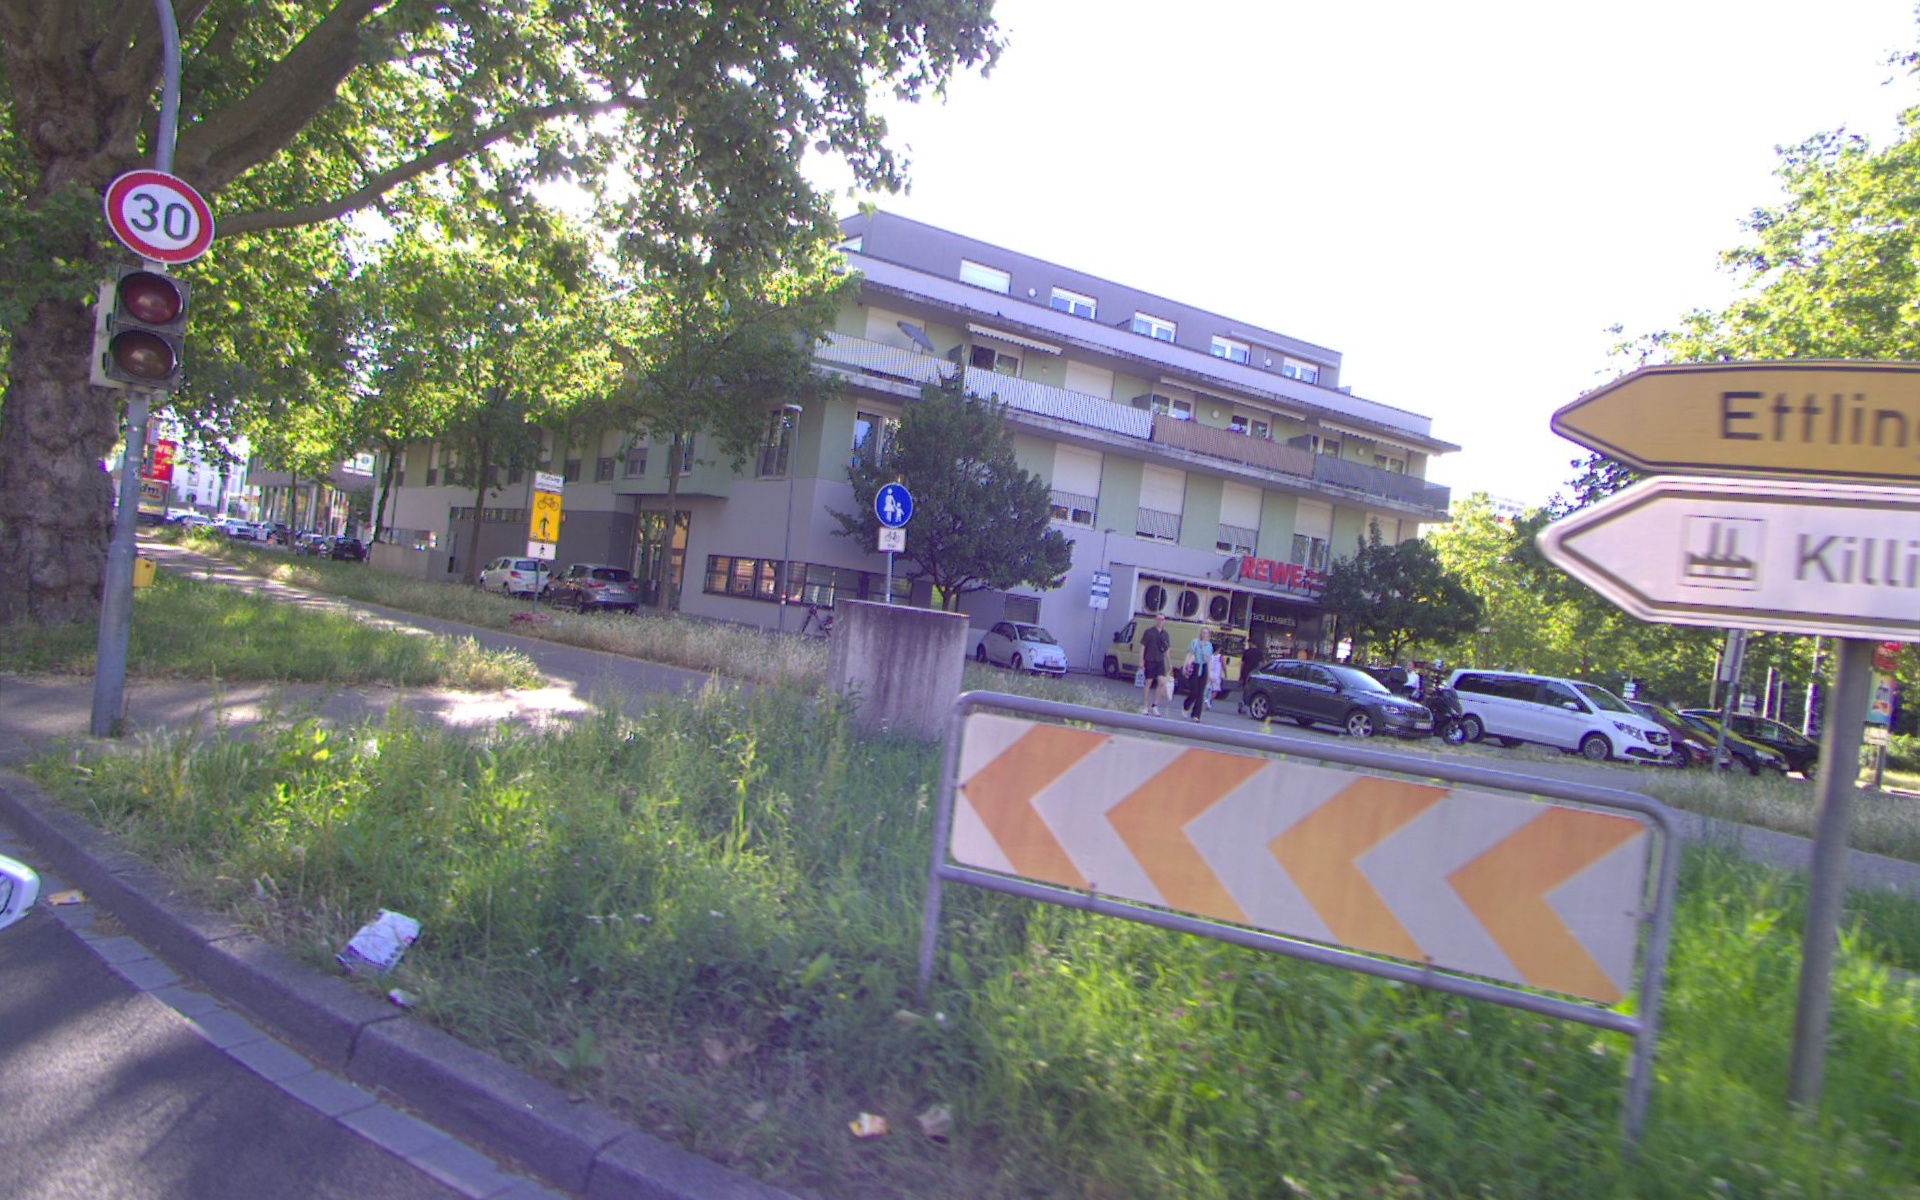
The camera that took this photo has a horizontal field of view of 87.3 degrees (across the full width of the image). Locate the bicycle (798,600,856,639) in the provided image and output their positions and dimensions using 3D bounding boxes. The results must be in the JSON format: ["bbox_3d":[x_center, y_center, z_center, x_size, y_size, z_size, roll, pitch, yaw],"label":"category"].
[{"bbox_3d":[-4.255,0.625,32.199,1.659,1.030,0.585,7,0,-25],"label":"bicycle"}]

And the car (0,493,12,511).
[{"bbox_3d":[-121.213,-12.475,126.883,3.947,2.036,1.991,5,-3,43],"label":"car"}]

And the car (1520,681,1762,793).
[{"bbox_3d":[17.324,3.444,25.886,1.978,1.798,4.599,8,2,-27],"label":"car"}]

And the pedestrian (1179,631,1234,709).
[{"bbox_3d":[5.939,1.683,24.211,0.933,1.719,0.882,7,0,28],"label":"pedestrian"}]

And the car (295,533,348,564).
[{"bbox_3d":[-39.730,-3.200,62.577,4.071,1.486,1.855,6,-1,45],"label":"car"}]

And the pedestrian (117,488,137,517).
[{"bbox_3d":[-53.800,-6.293,64.954,0.653,1.784,0.767,7,2,35],"label":"pedestrian"}]

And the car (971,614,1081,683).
[{"bbox_3d":[1.959,1.434,30.739,1.656,1.473,3.531,8,2,-27],"label":"car"}]

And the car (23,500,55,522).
[{"bbox_3d":[-74.669,-7.211,81.562,1.803,1.558,4.528,4,1,-43],"label":"car"}]

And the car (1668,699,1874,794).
[{"bbox_3d":[24.721,4.395,30.770,4.569,1.798,1.991,11,3,43],"label":"car"}]

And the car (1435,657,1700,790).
[{"bbox_3d":[14.571,2.899,24.528,1.978,2.123,5.014,8,2,-27],"label":"car"}]

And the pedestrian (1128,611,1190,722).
[{"bbox_3d":[3.730,1.238,18.939,0.768,1.956,0.838,7,0,-1],"label":"pedestrian"}]

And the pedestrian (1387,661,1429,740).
[{"bbox_3d":[10.627,2.377,23.867,0.555,1.771,0.528,7,-2,-32],"label":"pedestrian"}]

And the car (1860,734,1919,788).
[{"bbox_3d":[37.212,6.316,38.203,4.040,1.819,1.999,6,-2,28],"label":"car"}]

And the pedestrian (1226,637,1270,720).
[{"bbox_3d":[6.821,1.847,23.800,0.674,1.832,0.964,7,0,25],"label":"pedestrian"}]

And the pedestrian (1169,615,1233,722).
[{"bbox_3d":[4.581,1.287,19.159,0.789,1.903,0.785,7,0,-1],"label":"pedestrian"}]

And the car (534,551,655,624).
[{"bbox_3d":[-11.514,-0.421,31.520,1.899,1.792,4.267,8,-1,-43],"label":"car"}]

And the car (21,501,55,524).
[{"bbox_3d":[-70.029,-6.676,76.391,3.970,1.486,1.630,5,0,45],"label":"car"}]

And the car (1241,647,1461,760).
[{"bbox_3d":[8.088,2.104,21.147,1.659,1.542,3.950,7,2,-32],"label":"car"}]

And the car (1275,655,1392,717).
[{"bbox_3d":[13.250,3.014,35.887,1.559,1.653,3.653,8,-1,-27],"label":"car"}]

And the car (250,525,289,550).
[{"bbox_3d":[-60.891,-5.522,88.726,4.126,1.754,1.981,6,-1,45],"label":"car"}]

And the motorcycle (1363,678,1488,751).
[{"bbox_3d":[10.432,2.553,22.642,0.942,1.263,2.298,7,-1,-31],"label":"motorcycle"}]

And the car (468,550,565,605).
[{"bbox_3d":[-16.410,-0.852,37.085,1.853,1.561,4.267,8,-1,-43],"label":"car"}]

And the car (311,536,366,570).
[{"bbox_3d":[-35.549,-2.712,57.524,1.853,1.571,3.713,8,-1,-43],"label":"car"}]

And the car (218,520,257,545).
[{"bbox_3d":[-62.694,-5.843,87.265,4.125,1.754,1.872,6,-1,44],"label":"car"}]

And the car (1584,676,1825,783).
[{"bbox_3d":[19.721,3.377,26.920,1.978,1.798,4.599,8,2,-27],"label":"car"}]

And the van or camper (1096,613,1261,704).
[{"bbox_3d":[6.901,1.800,32.472,2.237,2.274,5.338,7,-1,-25],"label":"van or camper"}]
